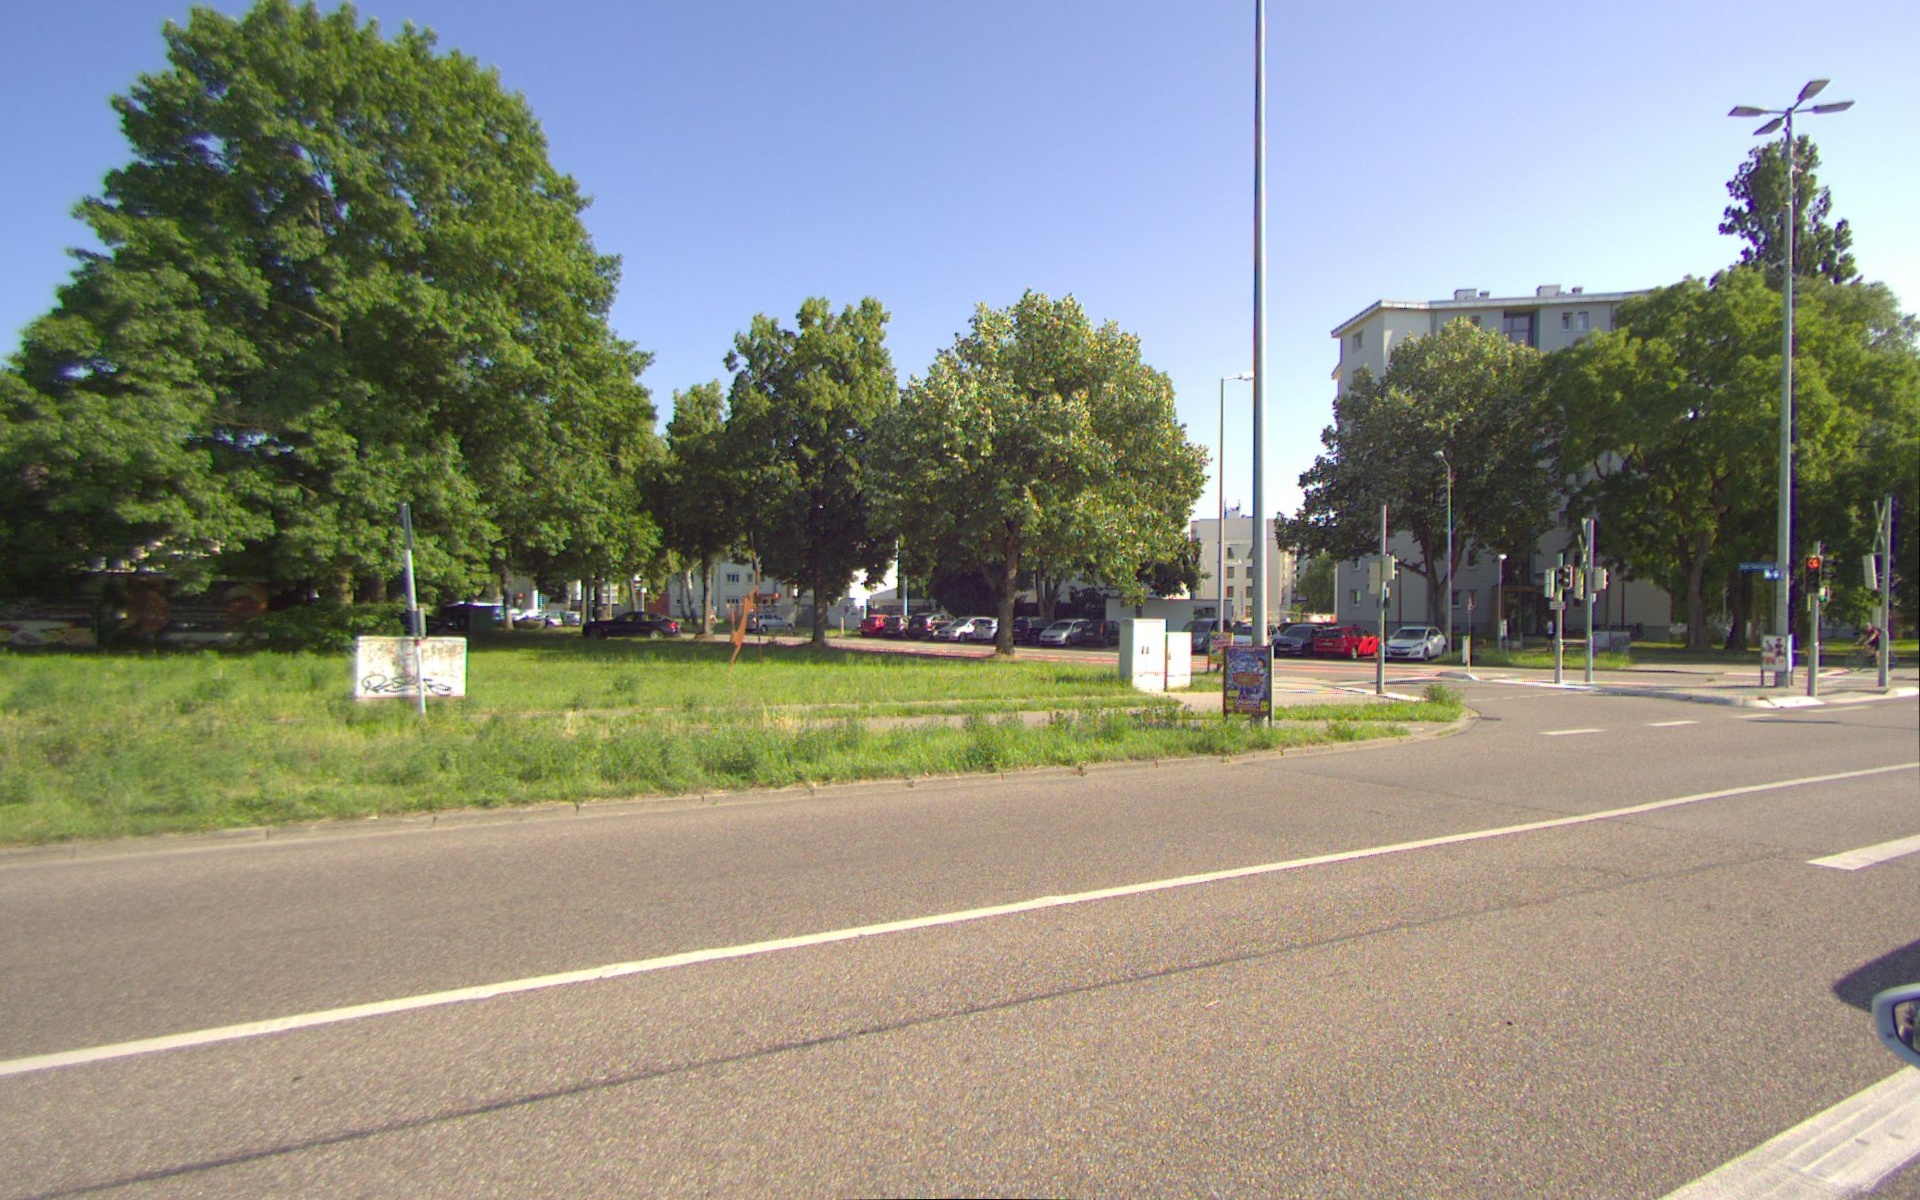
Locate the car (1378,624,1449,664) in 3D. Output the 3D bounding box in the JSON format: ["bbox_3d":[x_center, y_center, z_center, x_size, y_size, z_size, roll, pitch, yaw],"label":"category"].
[{"bbox_3d":[20.540,1.953,45.399,1.760,1.459,3.977,0,2,43],"label":"car"}]

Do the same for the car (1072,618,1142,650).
[{"bbox_3d":[8.430,1.883,57.161,1.758,1.497,4.791,0,2,39],"label":"car"}]

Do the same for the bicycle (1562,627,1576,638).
[{"bbox_3d":[39.370,2.094,64.946,0.574,0.718,2.236,1,0,26],"label":"bicycle"}]

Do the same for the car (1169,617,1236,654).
[{"bbox_3d":[12.685,1.839,52.408,1.759,1.835,3.979,0,-1,41],"label":"car"}]

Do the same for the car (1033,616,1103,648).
[{"bbox_3d":[6.274,1.827,57.814,1.758,1.497,4.692,0,3,39],"label":"car"}]

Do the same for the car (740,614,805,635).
[{"bbox_3d":[-14.193,1.847,76.324,1.760,1.497,4.786,0,-1,43],"label":"car"}]

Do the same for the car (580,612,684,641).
[{"bbox_3d":[-16.248,1.319,49.944,4.682,1.338,1.524,1,-1,-8],"label":"car"}]

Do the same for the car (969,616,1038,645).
[{"bbox_3d":[2.714,1.808,61.466,1.758,1.497,4.755,0,2,39],"label":"car"}]

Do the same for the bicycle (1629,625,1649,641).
[{"bbox_3d":[42.683,2.087,63.174,0.658,0.932,2.404,1,0,26],"label":"bicycle"}]

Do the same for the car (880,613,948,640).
[{"bbox_3d":[-3.037,1.744,66.885,1.758,1.497,4.791,0,2,39],"label":"car"}]

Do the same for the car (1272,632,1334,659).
[{"bbox_3d":[16.643,2.197,48.685,1.445,1.209,3.765,0,-1,43],"label":"car"}]

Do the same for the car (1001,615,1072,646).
[{"bbox_3d":[4.615,1.787,59.891,1.758,1.497,4.791,0,3,39],"label":"car"}]

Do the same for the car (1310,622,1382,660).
[{"bbox_3d":[18.221,1.909,47.392,1.761,1.435,3.975,0,3,44],"label":"car"}]

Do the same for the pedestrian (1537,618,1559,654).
[{"bbox_3d":[29.104,1.784,49.713,0.693,1.736,0.623,0,0,-18],"label":"pedestrian"}]

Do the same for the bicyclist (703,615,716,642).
[{"bbox_3d":[-14.743,1.647,59.052,0.611,1.544,0.622,-1,1,-31],"label":"bicyclist"}]

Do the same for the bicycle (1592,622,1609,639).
[{"bbox_3d":[40.769,1.955,63.911,0.601,1.080,1.916,1,-2,24],"label":"bicycle"}]

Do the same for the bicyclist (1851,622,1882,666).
[{"bbox_3d":[33.636,1.627,37.261,0.590,1.581,0.609,1,0,4],"label":"bicyclist"}]

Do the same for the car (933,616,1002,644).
[{"bbox_3d":[0.516,1.853,62.708,1.758,1.497,4.791,0,2,39],"label":"car"}]

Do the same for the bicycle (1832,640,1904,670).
[{"bbox_3d":[33.677,2.021,37.263,2.030,1.054,0.622,1,0,4],"label":"bicycle"}]

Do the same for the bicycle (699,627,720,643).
[{"bbox_3d":[-14.745,2.047,59.108,0.647,0.915,1.794,1,0,-31],"label":"bicycle"}]

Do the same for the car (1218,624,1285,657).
[{"bbox_3d":[14.708,2.012,50.571,1.759,1.541,3.979,0,-1,41],"label":"car"}]

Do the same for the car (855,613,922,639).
[{"bbox_3d":[-4.800,1.737,68.352,1.758,1.497,4.791,0,2,39],"label":"car"}]

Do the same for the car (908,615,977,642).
[{"bbox_3d":[-1.056,1.802,64.633,1.758,1.497,4.791,0,2,39],"label":"car"}]
